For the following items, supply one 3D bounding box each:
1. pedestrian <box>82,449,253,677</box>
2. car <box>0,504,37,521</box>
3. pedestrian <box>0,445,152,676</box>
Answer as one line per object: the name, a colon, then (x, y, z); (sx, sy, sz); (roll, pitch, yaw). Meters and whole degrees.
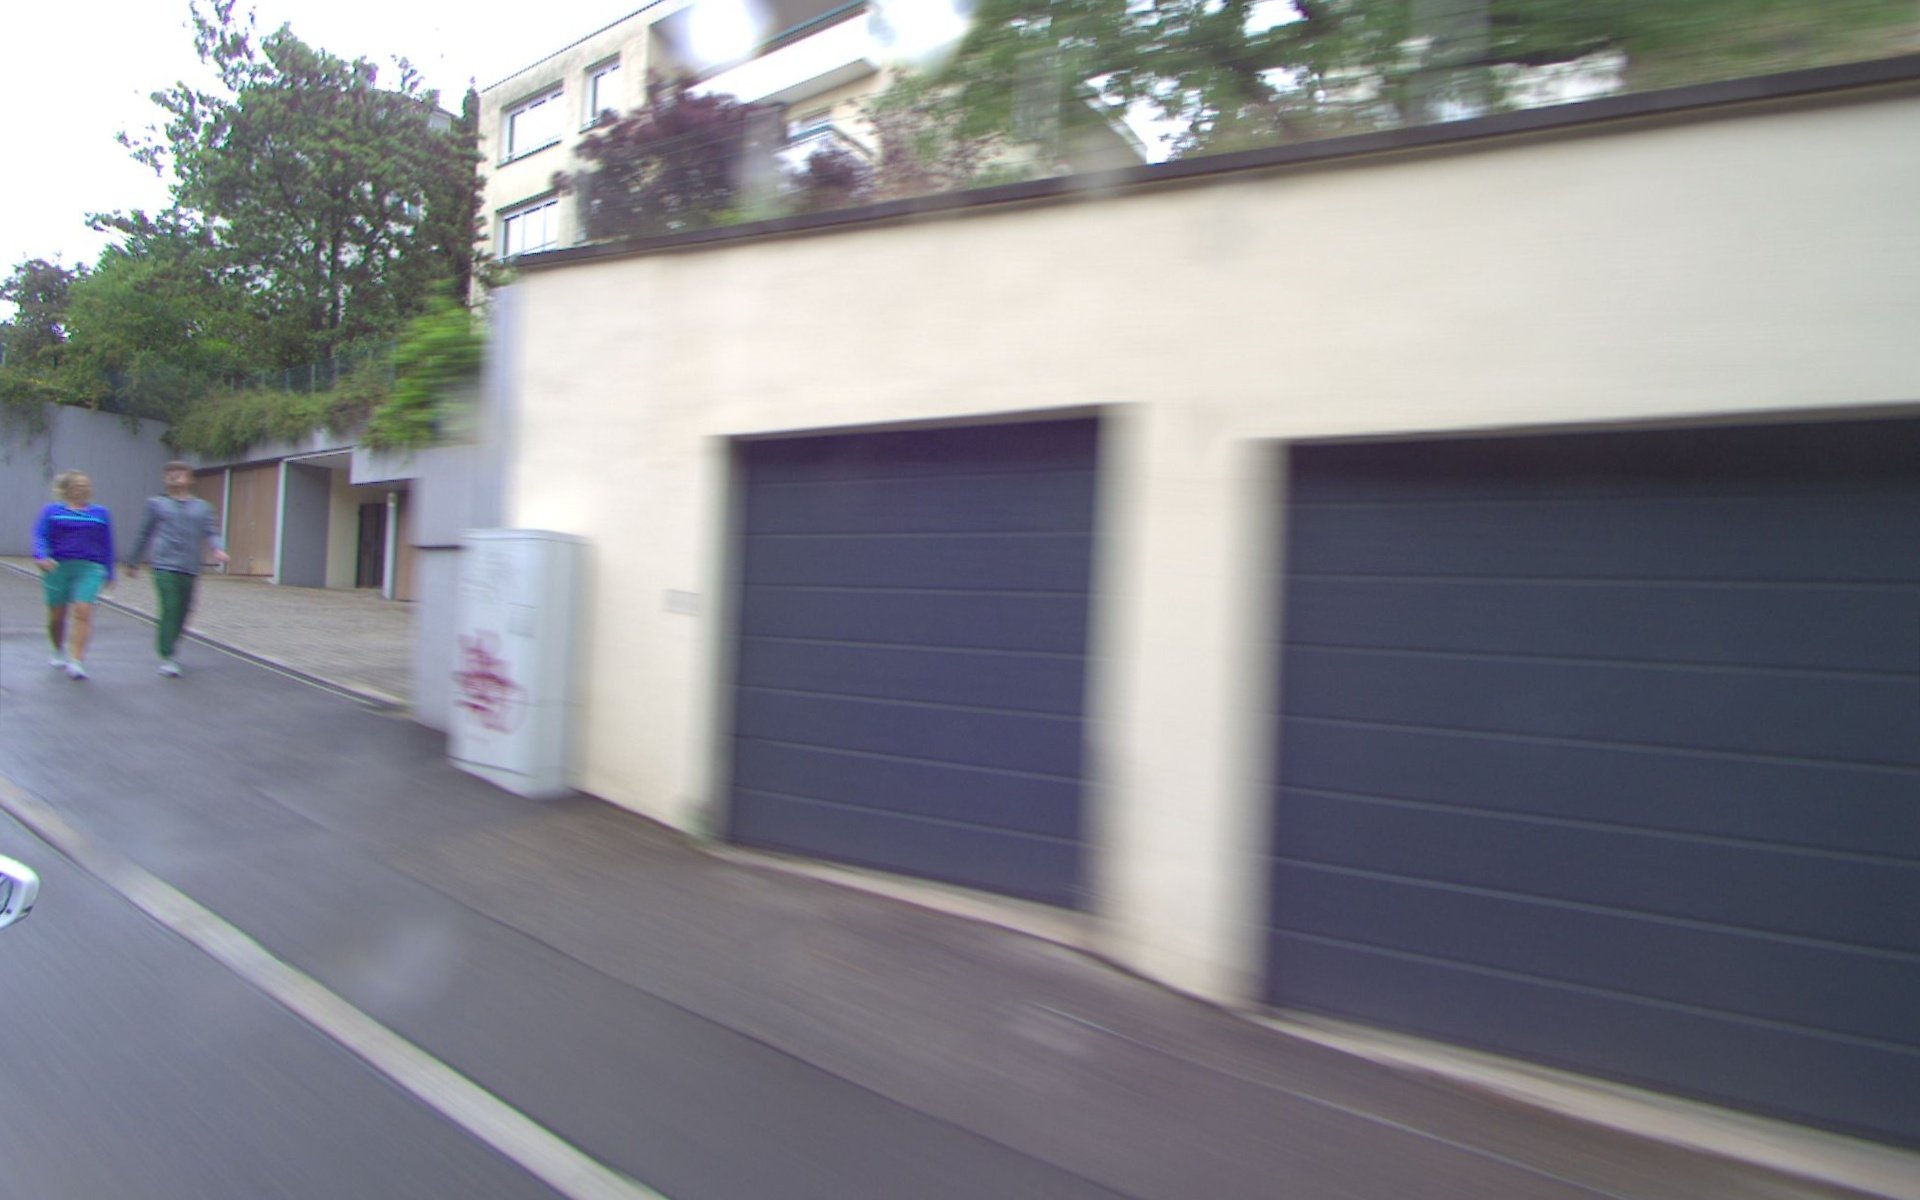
pedestrian: (-6.965, -0.329, 8.839); (1.231, 1.856, 0.775); (6, 2, 35)
car: (-104.943, -9.762, 111.191); (1.707, 1.527, 4.184); (5, 0, 7)
pedestrian: (-7.390, -0.327, 8.348); (0.996, 1.782, 0.774); (6, 3, 35)
